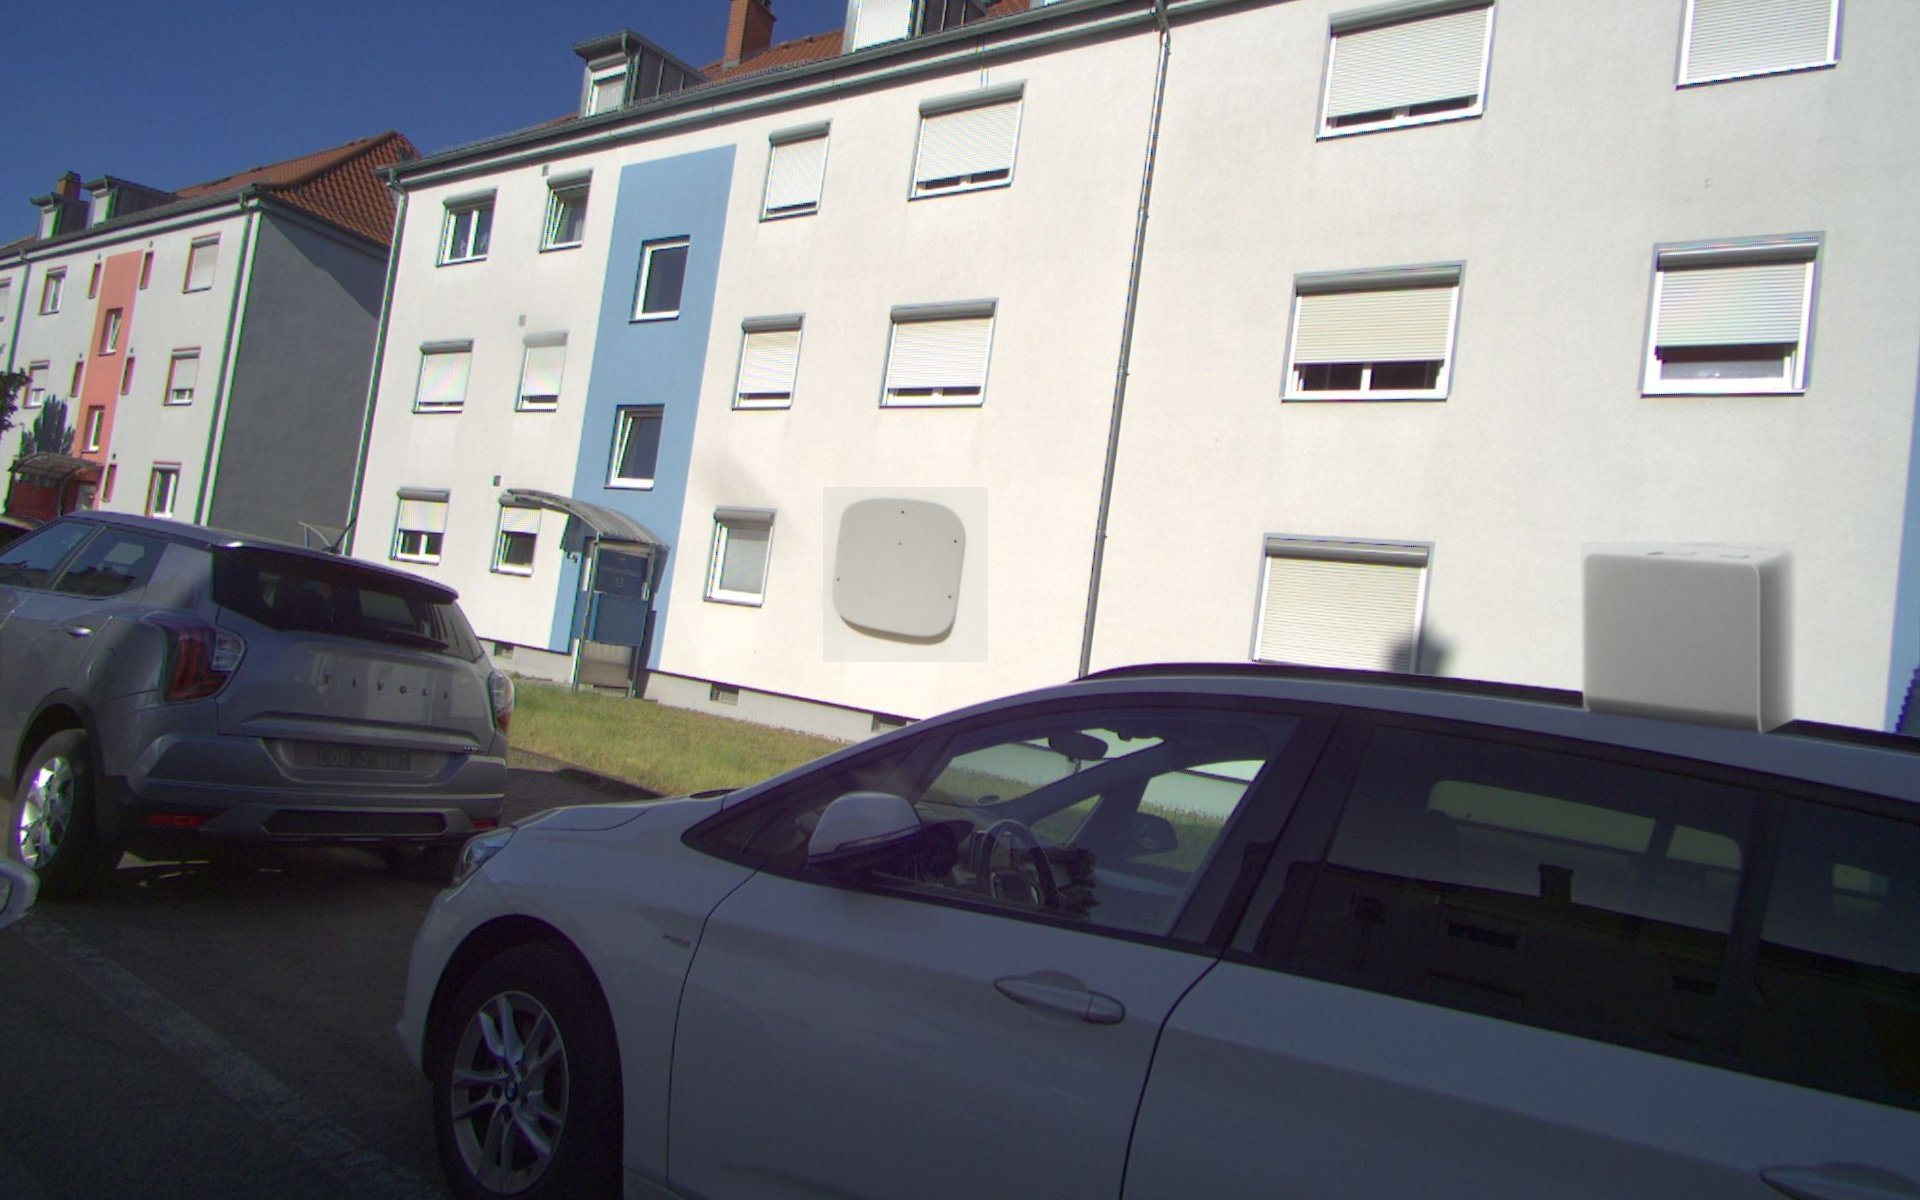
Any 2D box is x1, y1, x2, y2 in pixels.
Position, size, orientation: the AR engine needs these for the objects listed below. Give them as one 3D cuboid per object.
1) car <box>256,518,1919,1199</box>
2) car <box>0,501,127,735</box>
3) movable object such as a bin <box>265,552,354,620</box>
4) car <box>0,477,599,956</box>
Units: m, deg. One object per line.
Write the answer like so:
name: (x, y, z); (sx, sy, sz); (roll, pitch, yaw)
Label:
car: (0.433, 0.894, 2.467); (4.360, 1.591, 1.696); (7, -5, 30)
car: (-8.786, -0.132, 8.059); (4.324, 1.611, 1.719); (7, -6, 31)
movable object such as a bin: (-16.359, -0.347, 25.322); (1.168, 1.431, 1.363); (6, -3, 31)
car: (-4.281, 0.366, 5.429); (4.376, 1.633, 1.758); (7, -6, 29)
